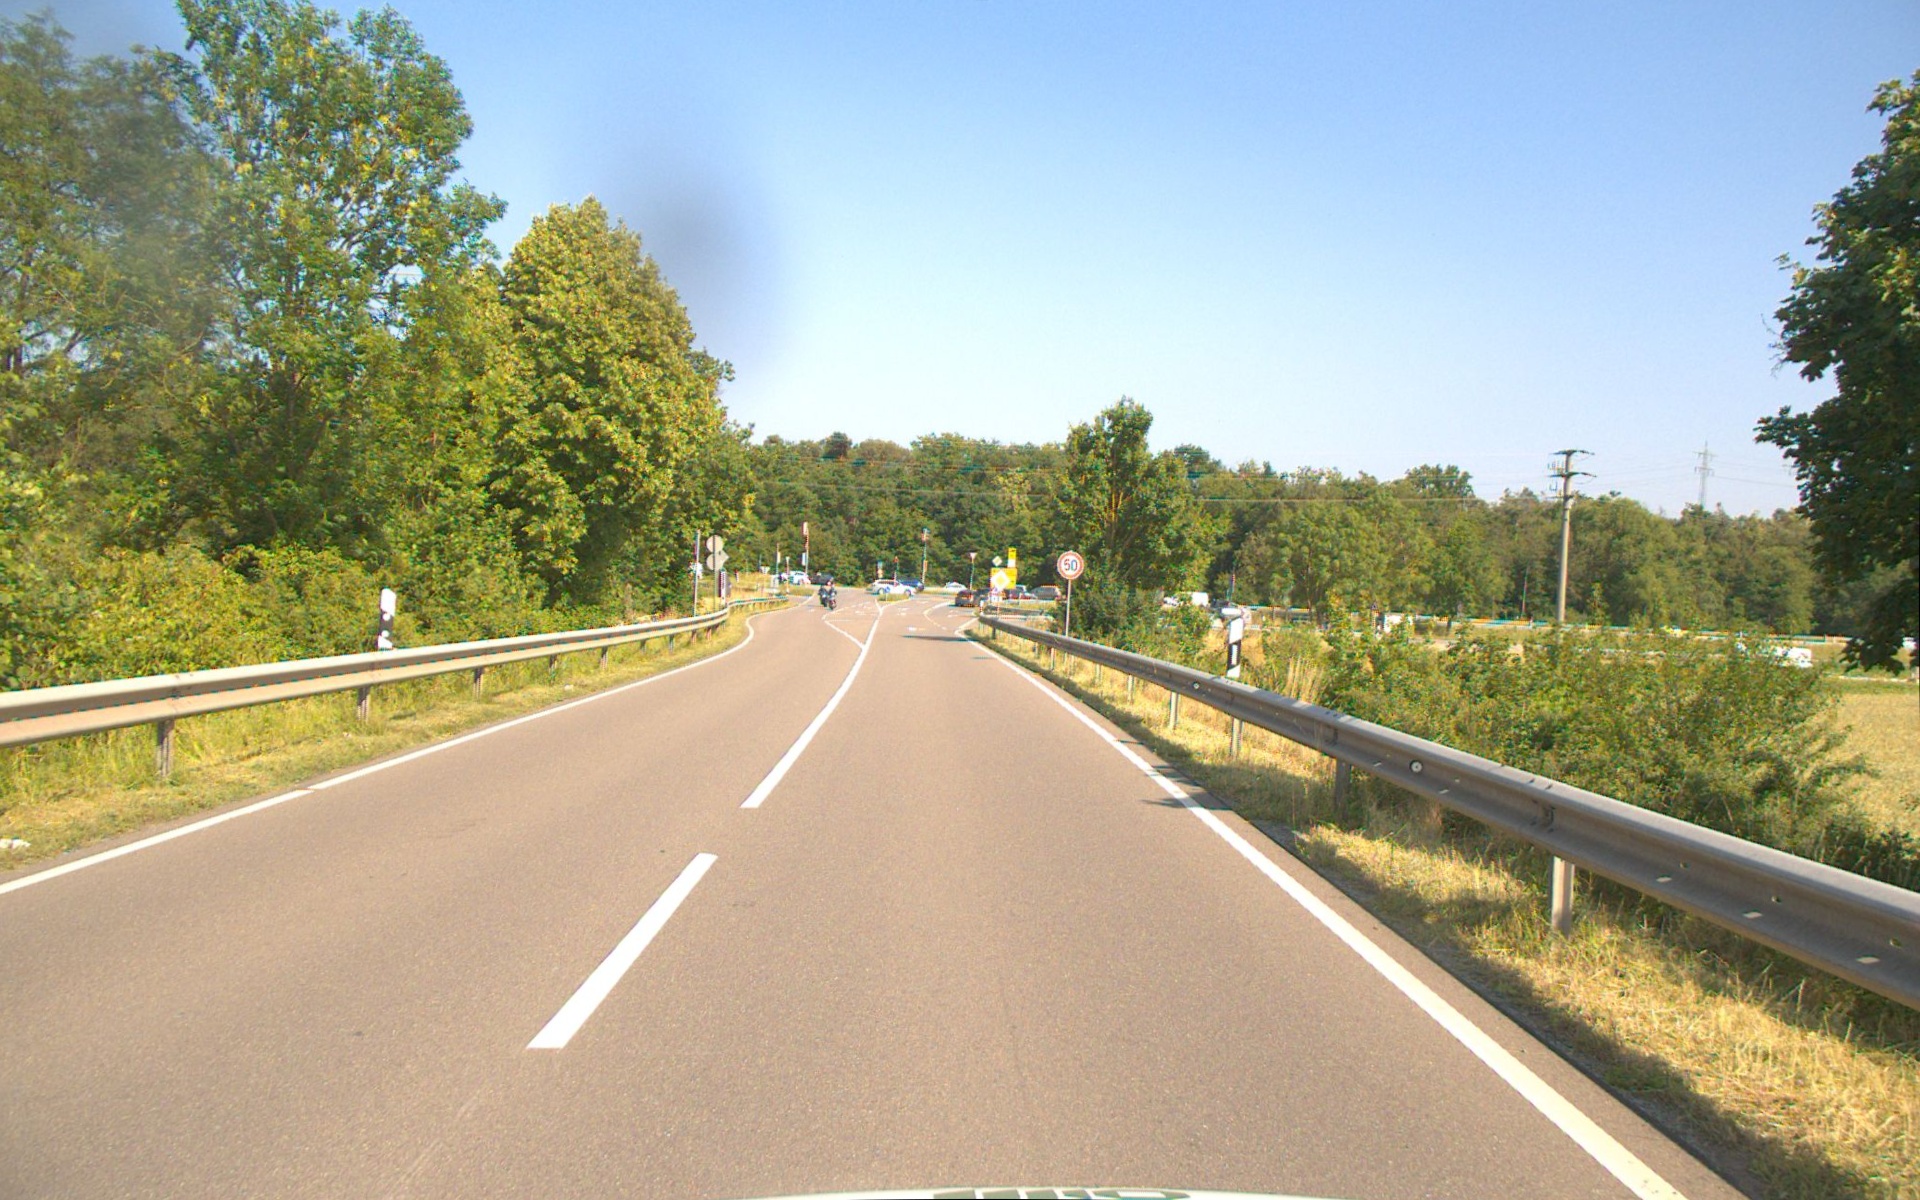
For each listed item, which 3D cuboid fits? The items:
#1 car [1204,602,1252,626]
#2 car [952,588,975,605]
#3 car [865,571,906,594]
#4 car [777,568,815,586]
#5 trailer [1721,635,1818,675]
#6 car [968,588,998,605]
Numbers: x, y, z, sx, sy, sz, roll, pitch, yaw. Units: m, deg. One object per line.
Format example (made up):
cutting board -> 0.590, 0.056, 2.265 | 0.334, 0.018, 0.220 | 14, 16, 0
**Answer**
car -> 25.436, 1.334, 156.904 | 3.925, 1.909, 1.883 | 6, 1, 38
car -> 0.333, -0.334, 145.070 | 1.761, 1.422, 4.002 | -2, 0, 4
car -> -7.463, -1.774, 165.965 | 3.910, 2.048, 1.799 | 2, 1, -6
car -> -18.729, -2.608, 188.973 | 3.933, 2.049, 1.783 | 1, 0, -23
trailer -> 67.494, 4.574, 138.002 | 6.641, 2.716, 2.896 | 4, 1, 14
car -> 2.156, -0.309, 152.606 | 1.761, 1.527, 4.003 | 3, 1, 15
